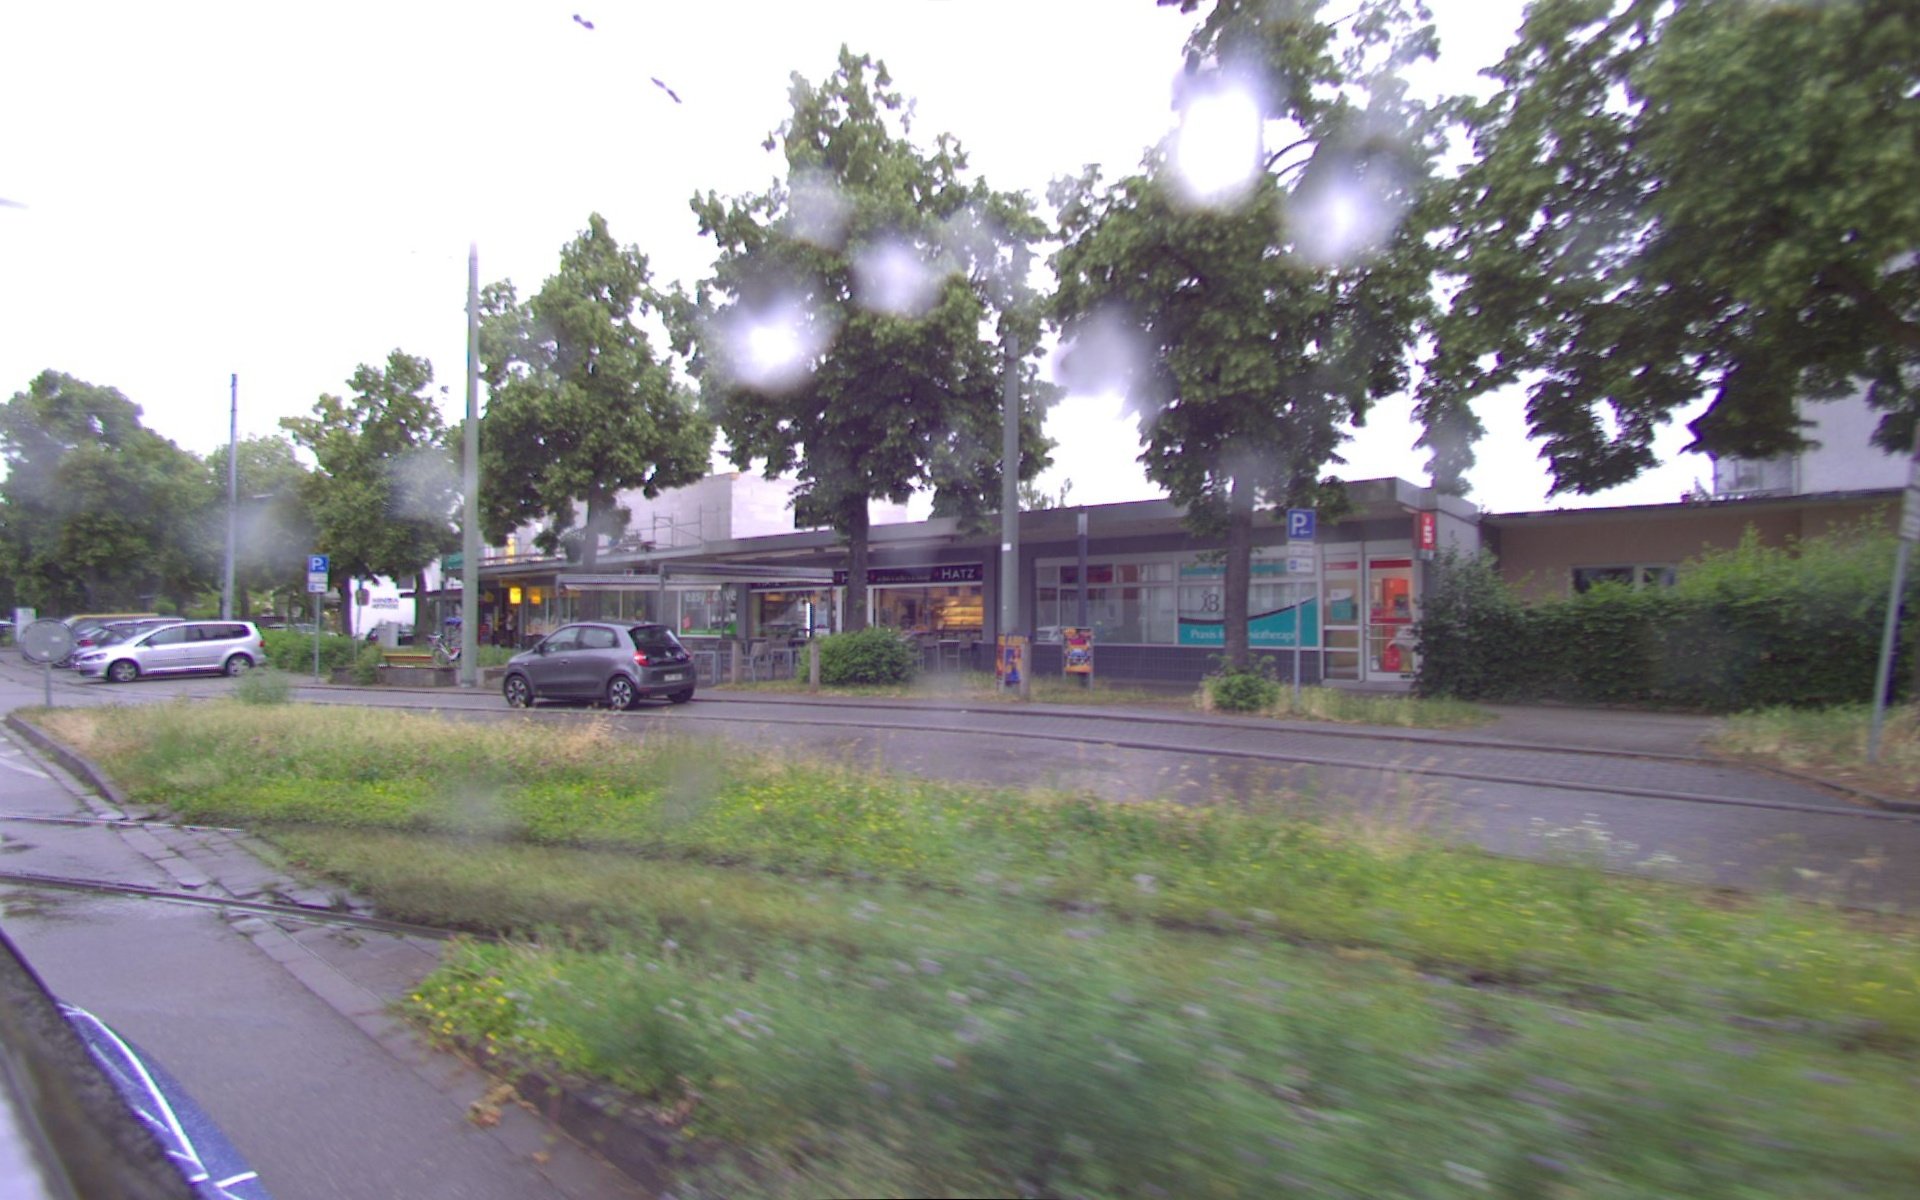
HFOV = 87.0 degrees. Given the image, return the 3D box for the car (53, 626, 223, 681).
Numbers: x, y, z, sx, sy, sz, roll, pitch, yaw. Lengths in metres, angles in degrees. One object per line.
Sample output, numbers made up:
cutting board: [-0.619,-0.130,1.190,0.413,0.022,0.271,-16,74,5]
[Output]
car: [-26.807,1.685,33.083,1.999,1.583,4.035,-2,-1,41]

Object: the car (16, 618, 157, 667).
car: [-38.147,1.829,44.275,1.898,1.958,4.487,-2,-1,41]

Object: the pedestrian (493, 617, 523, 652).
pedestrian: [-20.897,1.591,46.745,1.062,1.596,0.950,1,-1,-37]

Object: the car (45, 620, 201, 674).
car: [-29.765,1.638,36.078,1.898,1.722,4.035,-2,-1,41]

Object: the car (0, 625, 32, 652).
car: [-74.206,2.986,77.463,1.898,1.958,4.487,-2,-1,41]

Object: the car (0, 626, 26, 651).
car: [-76.206,3.035,79.140,1.898,1.958,4.487,-2,-1,41]

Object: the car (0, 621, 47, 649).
car: [-68.484,2.536,72.463,1.898,1.958,4.487,-2,-1,41]

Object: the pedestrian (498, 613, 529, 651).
pedestrian: [-20.197,1.435,45.758,1.062,1.727,0.950,1,-1,-37]

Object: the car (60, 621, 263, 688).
car: [-22.809,1.506,29.030,1.999,1.686,4.279,-2,-1,41]

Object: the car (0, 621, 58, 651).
car: [-64.335,2.452,68.668,1.898,1.958,4.487,-2,-1,41]

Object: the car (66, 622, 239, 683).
car: [-24.582,1.550,30.912,1.793,1.686,3.894,-2,-1,41]

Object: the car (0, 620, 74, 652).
car: [-60.989,2.345,66.081,1.898,1.958,4.487,-2,-1,41]

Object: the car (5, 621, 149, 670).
car: [-36.134,1.817,41.492,1.898,1.823,4.247,-2,-1,41]

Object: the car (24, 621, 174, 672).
car: [-32.032,1.680,37.708,1.898,1.722,4.035,-2,-1,41]

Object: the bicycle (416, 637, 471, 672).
bicycle: [-16.332,1.707,31.997,1.741,1.080,0.589,-1,-3,25]

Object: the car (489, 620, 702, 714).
car: [-6.606,1.165,18.319,3.602,1.515,1.539,-1,0,25]
